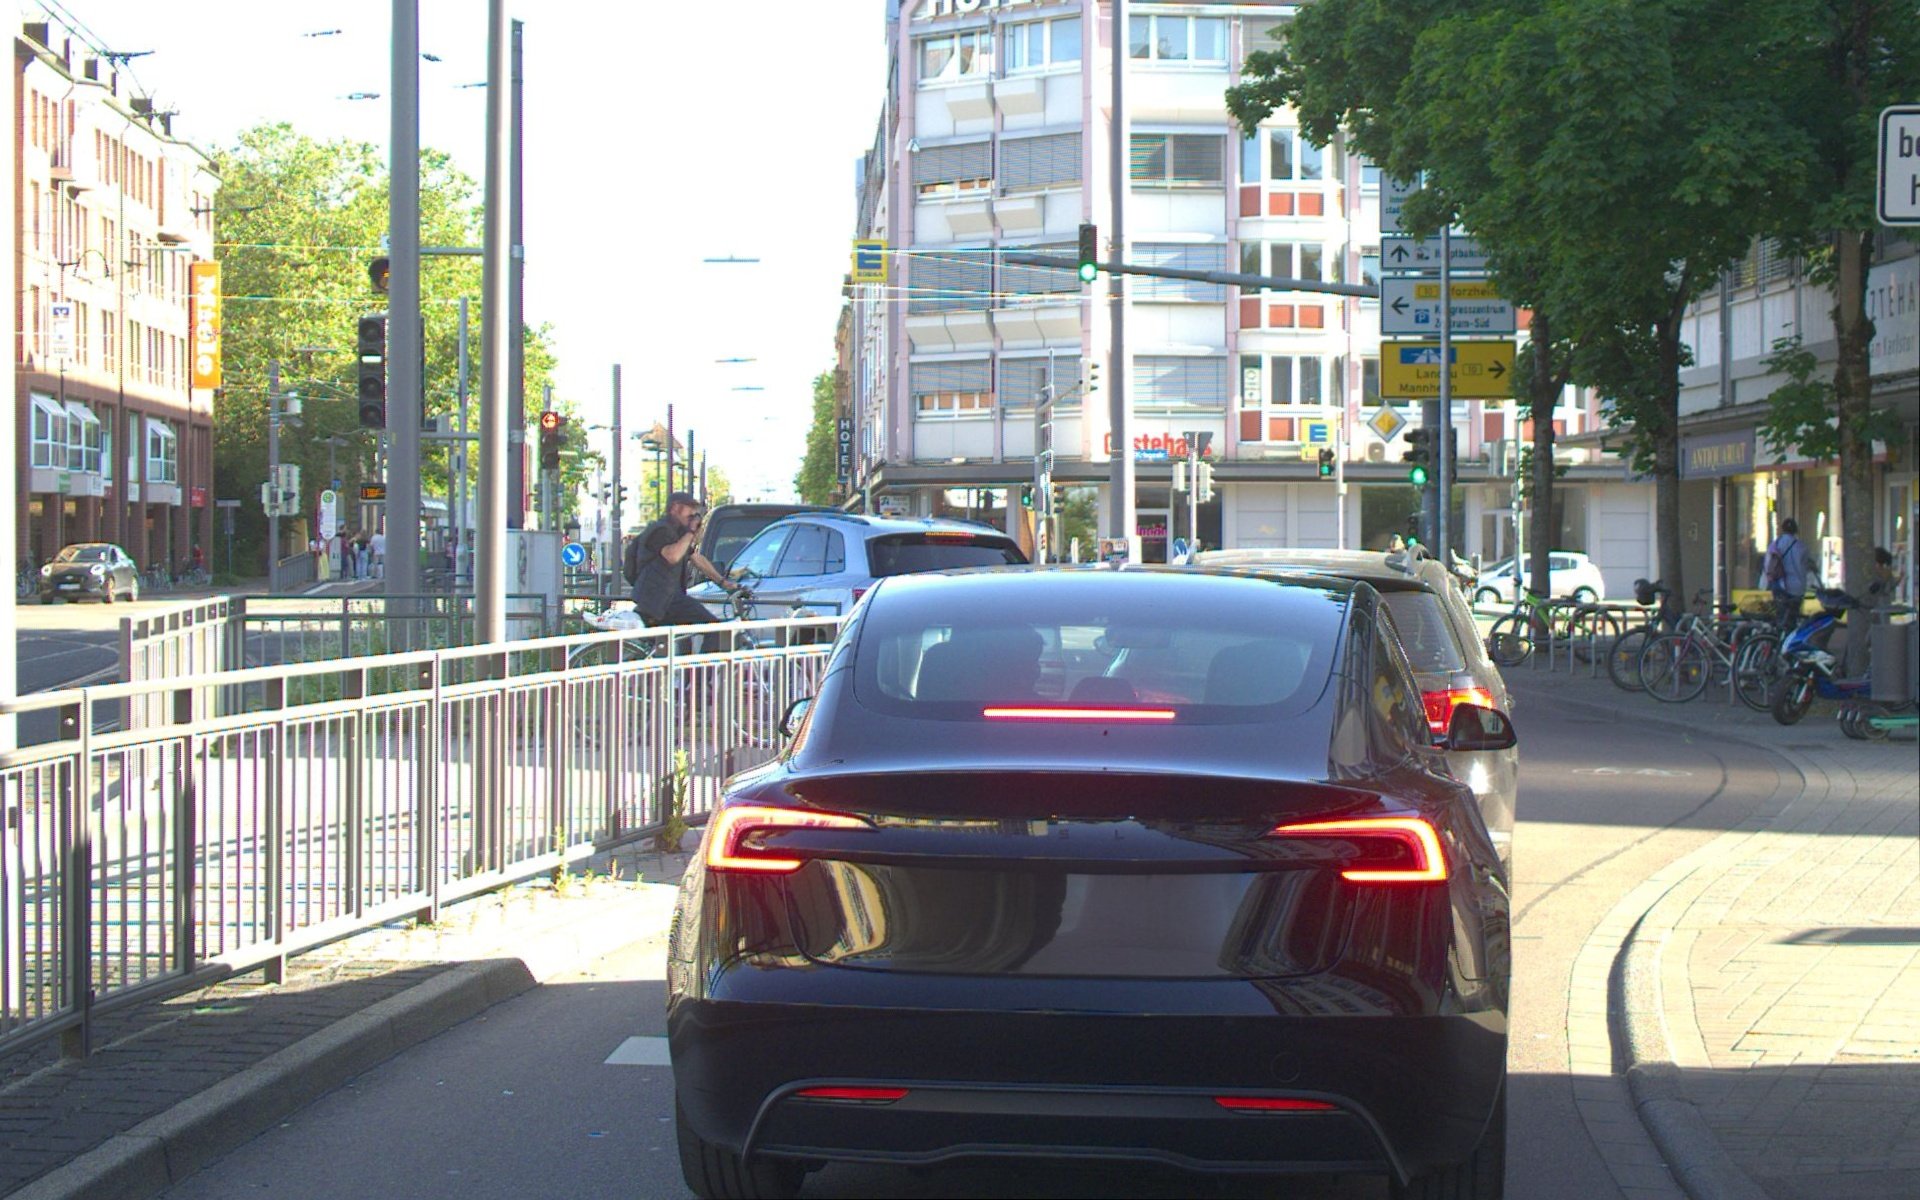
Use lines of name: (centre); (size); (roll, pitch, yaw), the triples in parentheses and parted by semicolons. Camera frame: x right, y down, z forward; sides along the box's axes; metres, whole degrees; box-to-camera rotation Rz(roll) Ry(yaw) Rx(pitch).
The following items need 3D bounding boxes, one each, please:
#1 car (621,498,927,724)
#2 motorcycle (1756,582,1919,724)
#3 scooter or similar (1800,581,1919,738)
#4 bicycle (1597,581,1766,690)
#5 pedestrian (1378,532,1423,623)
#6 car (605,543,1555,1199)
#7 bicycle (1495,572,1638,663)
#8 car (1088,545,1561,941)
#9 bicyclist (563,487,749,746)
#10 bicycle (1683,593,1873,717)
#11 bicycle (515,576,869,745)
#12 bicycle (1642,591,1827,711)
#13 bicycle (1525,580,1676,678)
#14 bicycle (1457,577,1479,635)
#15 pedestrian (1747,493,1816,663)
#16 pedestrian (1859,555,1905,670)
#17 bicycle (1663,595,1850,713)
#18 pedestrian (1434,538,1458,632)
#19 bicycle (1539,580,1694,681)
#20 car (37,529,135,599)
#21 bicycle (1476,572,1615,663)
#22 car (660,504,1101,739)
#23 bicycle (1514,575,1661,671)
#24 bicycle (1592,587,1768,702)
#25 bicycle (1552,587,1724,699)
car: (-1.841, 0.073, 32.666); (1.993, 2.007, 4.001); (0, 1, -17)
motorcycle: (7.711, 0.450, 29.269); (1.707, 1.169, 0.541); (1, 0, -2)
scooter or similar: (7.555, 0.470, 27.195); (1.644, 1.211, 0.644); (1, 0, 30)
bicycle: (7.416, 0.363, 35.354); (1.650, 1.095, 0.350); (1, 0, 1)
pedestrian: (8.041, -0.411, 62.750); (0.699, 1.656, 0.777); (1, 0, -1)
car: (0.375, 0.609, 8.677); (1.829, 1.450, 3.999); (1, 1, 4)
bicycle: (7.297, 0.209, 41.392); (1.650, 1.095, 0.350); (0, 1, 1)
car: (1.571, 0.503, 14.941); (1.751, 1.449, 3.999); (1, 1, 6)
bicyclist: (-1.962, 0.097, 22.121); (0.758, 1.623, 0.978); (0, 1, -39)
bicycle: (7.381, 0.493, 31.033); (1.649, 1.095, 0.350); (1, 0, -10)
bicycle: (-1.724, 0.379, 22.445); (2.329, 1.050, 0.631); (0, 1, -38)
bicycle: (7.179, 0.473, 31.878); (1.649, 1.095, 0.350); (1, 0, -10)
bicycle: (7.327, 0.326, 39.333); (1.650, 1.095, 0.350); (1, 0, 1)
bicycle: (9.209, 0.108, 62.378); (0.332, 1.030, 1.256); (1, 0, 6)
pedestrian: (9.793, -0.266, 40.988); (0.662, 2.007, 0.579); (1, 0, 2)
pedestrian: (10.901, 0.143, 40.645); (0.389, 1.339, 0.513); (1, 0, 2)
bicycle: (7.284, 0.490, 31.455); (1.649, 1.057, 0.350); (1, 0, -10)
pedestrian: (8.878, -0.267, 62.818); (0.402, 1.704, 0.527); (1, 0, 7)
bicycle: (7.308, 0.339, 38.306); (1.650, 1.095, 0.350); (1, 0, 1)
car: (-22.356, -0.921, 88.049); (1.697, 1.725, 3.707); (1, 1, -3)
bicycle: (7.229, 0.218, 42.486); (1.650, 1.095, 0.350); (1, 0, 1)
car: (-0.707, 0.129, 26.512); (1.883, 1.656, 4.159); (1, 1, -25)
bicycle: (7.360, 0.266, 40.346); (1.650, 1.095, 0.350); (1, 0, 1)
bicycle: (6.998, 0.430, 33.406); (1.649, 1.095, 0.350); (1, 0, -10)
bicycle: (6.757, 0.429, 34.281); (1.649, 1.095, 0.350); (1, 0, -10)
